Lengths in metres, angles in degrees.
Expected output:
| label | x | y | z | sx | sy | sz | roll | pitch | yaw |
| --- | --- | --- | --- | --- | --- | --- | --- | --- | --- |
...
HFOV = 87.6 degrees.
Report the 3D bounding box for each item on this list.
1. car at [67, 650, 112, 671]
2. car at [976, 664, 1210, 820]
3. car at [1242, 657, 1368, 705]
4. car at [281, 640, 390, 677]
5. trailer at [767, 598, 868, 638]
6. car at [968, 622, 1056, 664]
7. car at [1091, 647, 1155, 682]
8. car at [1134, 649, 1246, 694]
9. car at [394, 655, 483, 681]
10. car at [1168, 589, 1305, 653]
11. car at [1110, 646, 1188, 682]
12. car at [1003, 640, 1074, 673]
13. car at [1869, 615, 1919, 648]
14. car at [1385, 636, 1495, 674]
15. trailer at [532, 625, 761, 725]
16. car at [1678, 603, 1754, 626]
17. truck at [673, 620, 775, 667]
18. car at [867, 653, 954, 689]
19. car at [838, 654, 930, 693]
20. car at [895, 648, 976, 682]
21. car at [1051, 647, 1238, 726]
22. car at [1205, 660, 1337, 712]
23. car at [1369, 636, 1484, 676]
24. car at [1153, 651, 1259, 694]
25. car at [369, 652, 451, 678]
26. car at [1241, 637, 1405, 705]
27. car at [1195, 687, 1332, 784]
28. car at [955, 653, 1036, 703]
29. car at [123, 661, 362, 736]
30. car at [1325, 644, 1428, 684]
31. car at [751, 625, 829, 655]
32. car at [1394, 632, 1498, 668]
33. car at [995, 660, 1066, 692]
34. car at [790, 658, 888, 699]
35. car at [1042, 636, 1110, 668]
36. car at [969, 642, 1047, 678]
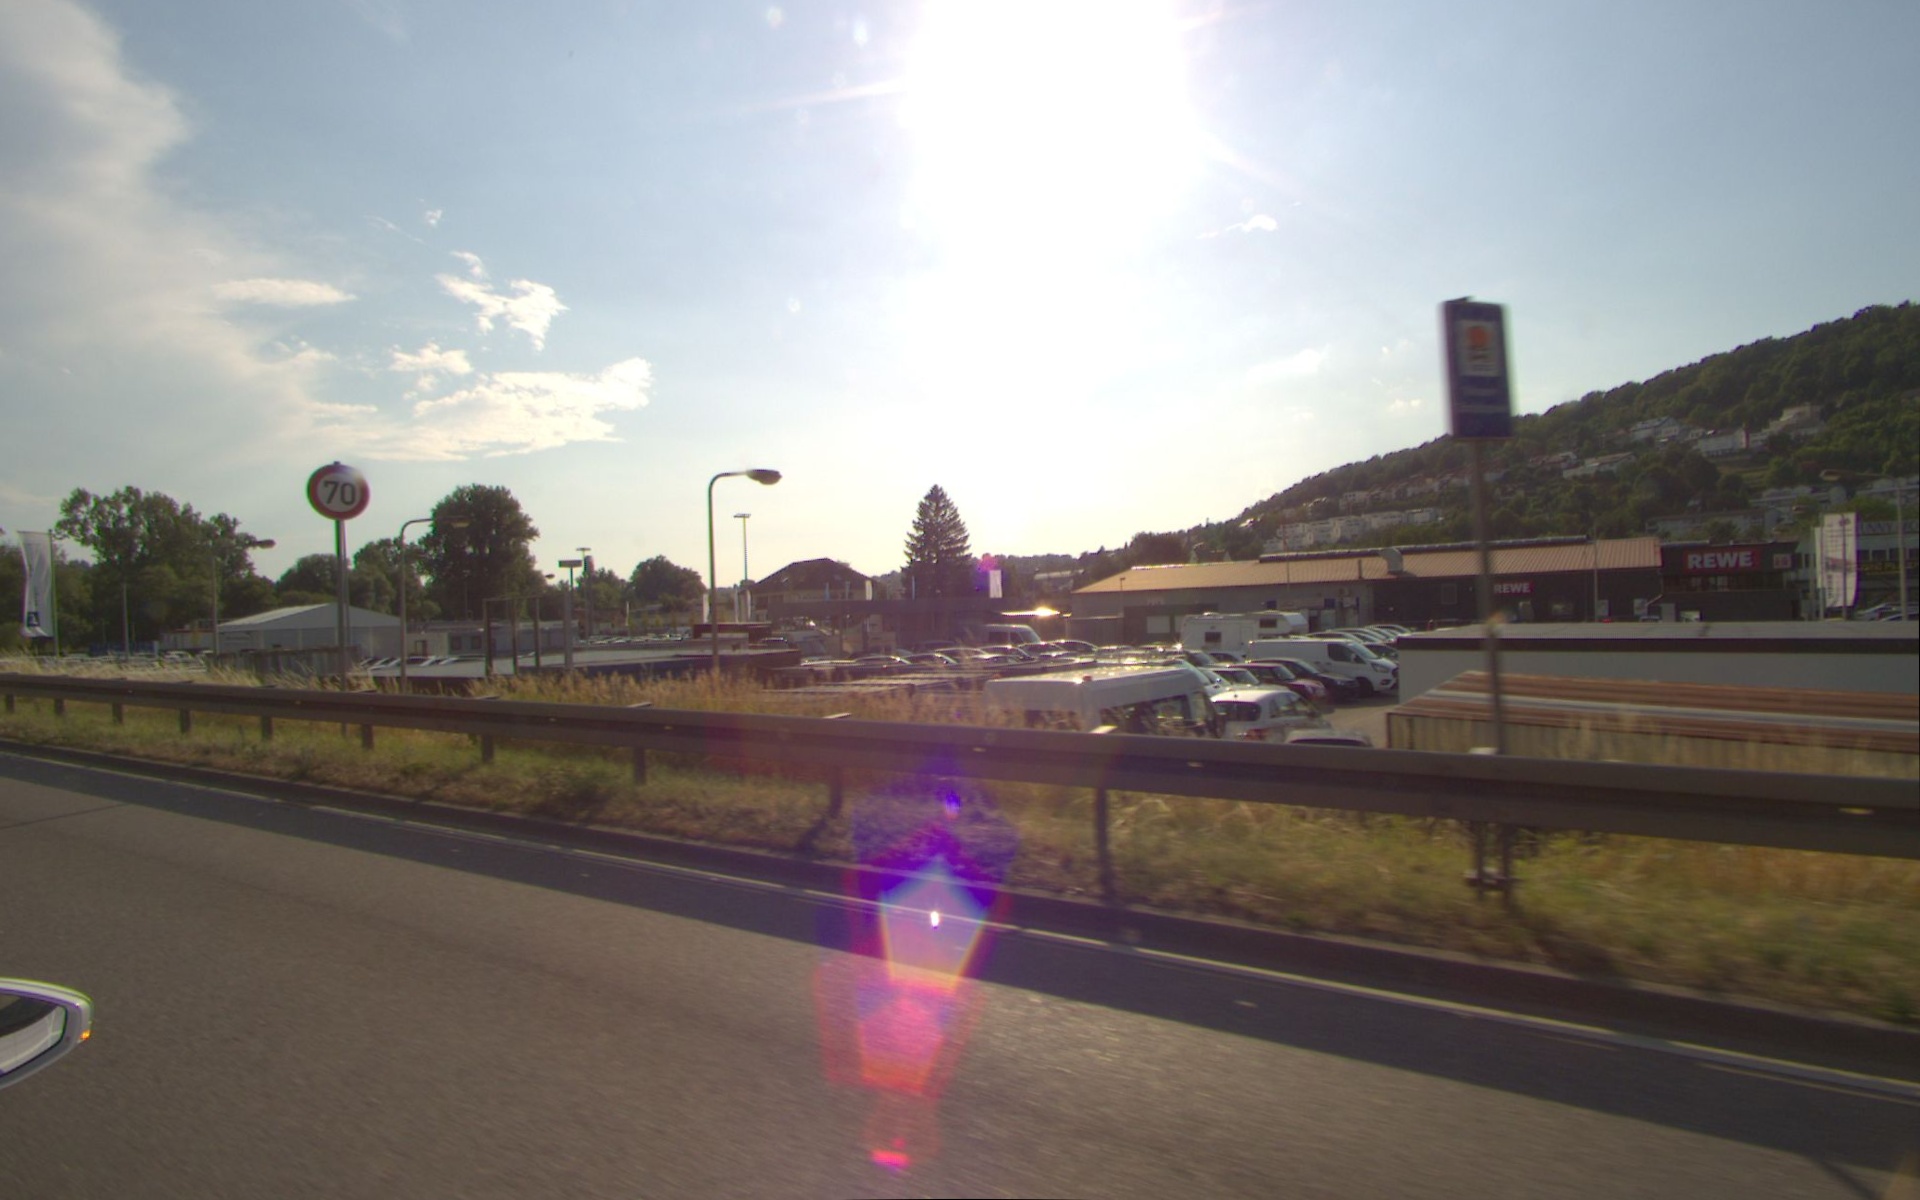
| label | x | y | z | sx | sy | sz | roll | pitch | yaw |
| --- | --- | --- | --- | --- | --- | --- | --- | --- | --- |
| car | -72.585 | 5.060 | 83.493 | 4.670 | 1.657 | 1.874 | -2 | -3 | 37 |
| car | 2.084 | 1.917 | 14.681 | 1.810 | 1.838 | 3.978 | -2 | -3 | 34 |
| car | 11.660 | 2.696 | 33.965 | 3.635 | 1.522 | 1.754 | -3 | -3 | 44 |
| car | -31.867 | 2.965 | 51.215 | 1.780 | 1.736 | 4.398 | -2 | -2 | 40 |
| trailer | -8.163 | 1.071 | 56.860 | 6.207 | 2.048 | 1.986 | -3 | -3 | 38 |
| car | 3.183 | 2.659 | 61.726 | 5.263 | 2.469 | 1.986 | -2 | -3 | 38 |
| car | 8.510 | 3.322 | 52.033 | 1.628 | 1.689 | 3.620 | -2 | -3 | 40 |
| car | 9.043 | 2.778 | 39.467 | 3.949 | 1.660 | 1.750 | -2 | -3 | 36 |
| car | -31.212 | 4.044 | 60.006 | 1.780 | 1.386 | 4.399 | -2 | -3 | 40 |
| car | 11.867 | 0.971 | 43.182 | 5.399 | 2.581 | 1.750 | -2 | -2 | 36 |
| car | 9.016 | 3.026 | 47.937 | 1.783 | 1.636 | 3.419 | 1 | -3 | -34 |
| car | 4.211 | 2.990 | 53.178 | 3.603 | 1.705 | 1.769 | -1 | -2 | 10 |
| car | 45.694 | 1.485 | 47.215 | 3.944 | 1.527 | 1.722 | -1 | -2 | 33 |
| car | 21.605 | 2.462 | 45.246 | 4.113 | 1.649 | 1.727 | -1 | -2 | 9 |
| trailer | -11.634 | 2.707 | 37.932 | 3.316 | 3.364 | 7.855 | -2 | -3 | 37 |
| car | 59.276 | 1.129 | 78.589 | 4.519 | 1.609 | 1.828 | -2 | 0 | 32 |
| truck | -12.633 | 2.338 | 53.460 | 5.893 | 2.400 | 1.988 | -2 | -2 | 36 |
| car | -2.246 | 3.256 | 45.937 | 3.703 | 1.590 | 1.682 | -1 | -2 | 7 |
| car | -3.288 | 3.180 | 43.456 | 3.703 | 1.590 | 1.682 | -1 | -2 | 7 |
| car | -1.182 | 3.138 | 48.504 | 3.703 | 1.590 | 1.682 | -1 | -2 | 7 |
| car | 4.993 | 2.318 | 27.502 | 4.766 | 1.976 | 1.750 | -2 | -2 | 36 |
| car | 9.952 | 2.701 | 32.171 | 3.635 | 1.522 | 1.754 | -3 | -3 | 44 |
| car | 20.051 | 2.401 | 43.192 | 4.113 | 1.649 | 1.727 | -1 | -2 | 9 |
| car | 10.195 | 2.976 | 41.596 | 3.949 | 1.660 | 1.750 | -2 | -3 | 36 |
| car | -36.291 | 4.251 | 66.151 | 1.780 | 1.563 | 4.399 | -2 | -3 | 40 |
| car | 12.935 | 2.489 | 35.906 | 5.229 | 2.274 | 1.750 | -2 | -2 | 36 |
| car | 6.228 | 2.657 | 20.336 | 1.515 | 1.591 | 3.561 | -2 | -3 | 37 |
| car | 1.584 | 3.335 | 43.465 | 1.807 | 2.039 | 3.626 | -2 | -3 | 36 |
| car | -22.535 | 3.006 | 31.761 | 1.974 | 2.039 | 5.866 | -2 | -3 | 35 |
| car | 16.281 | 2.507 | 39.296 | 3.609 | 1.522 | 1.766 | -2 | -2 | 20 |
| car | -9.277 | 2.180 | 54.470 | 4.292 | 1.563 | 1.789 | -3 | -3 | 38 |
| car | 23.268 | 2.389 | 48.083 | 4.113 | 1.649 | 1.727 | -1 | -2 | 9 |
| car | 2.630 | 2.848 | 37.839 | 1.260 | 1.138 | 2.748 | 1 | -3 | -34 |
| car | -4.937 | 3.217 | 41.036 | 3.702 | 1.590 | 1.682 | -1 | -2 | 5 |
| car | 6.454 | 2.901 | 55.468 | 3.603 | 1.705 | 1.769 | -1 | -2 | 10 |
| car | 2.450 | 3.027 | 50.718 | 3.606 | 1.705 | 1.767 | -1 | -1 | 16 |
